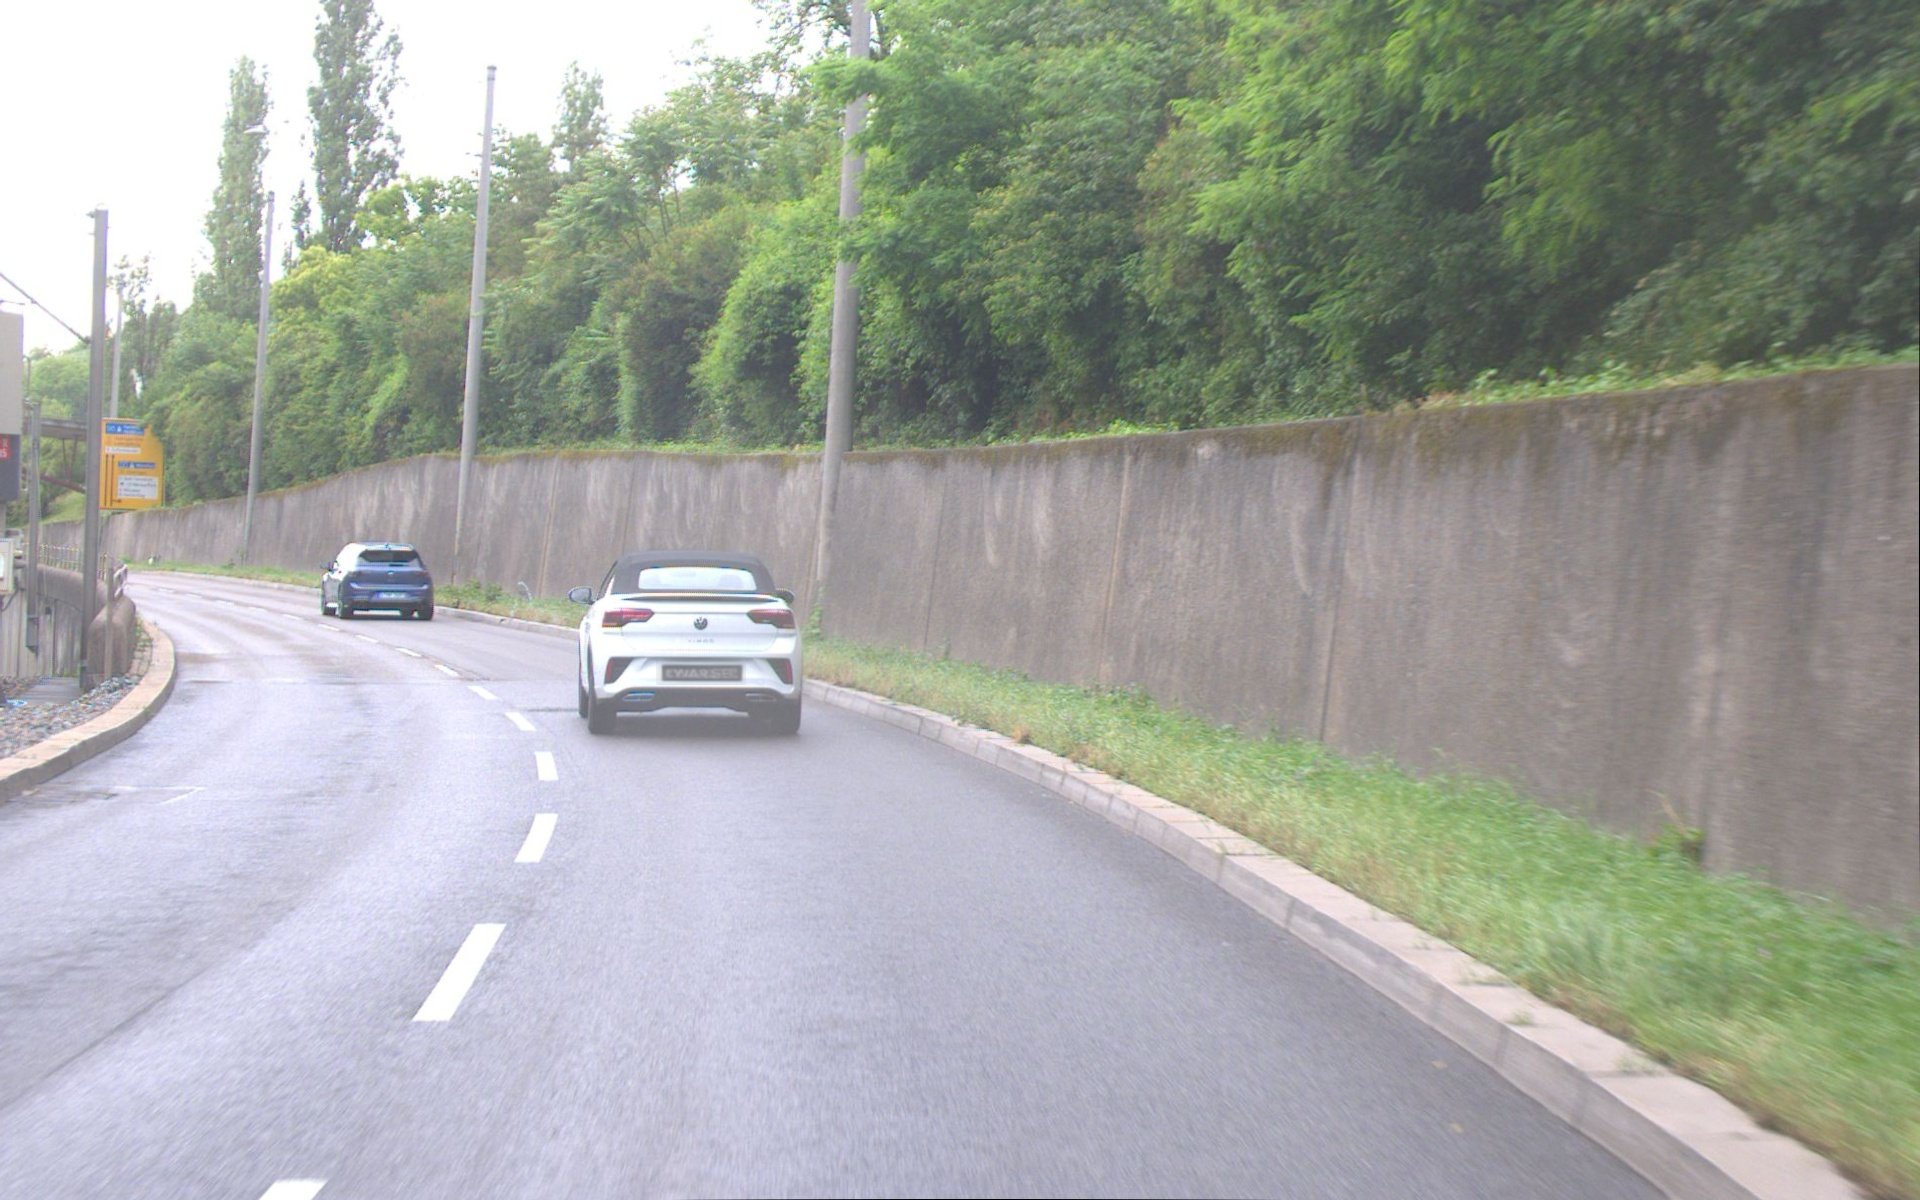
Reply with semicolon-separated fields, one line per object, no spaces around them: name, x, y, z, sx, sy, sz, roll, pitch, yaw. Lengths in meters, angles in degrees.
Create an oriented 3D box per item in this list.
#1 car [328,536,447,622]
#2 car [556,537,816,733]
car;-11.072;-0.431;66.306;1.925;1.594;4.063;0;1;-14
car;-2.457;0.252;29.943;1.995;1.573;4.127;0;1;-8
